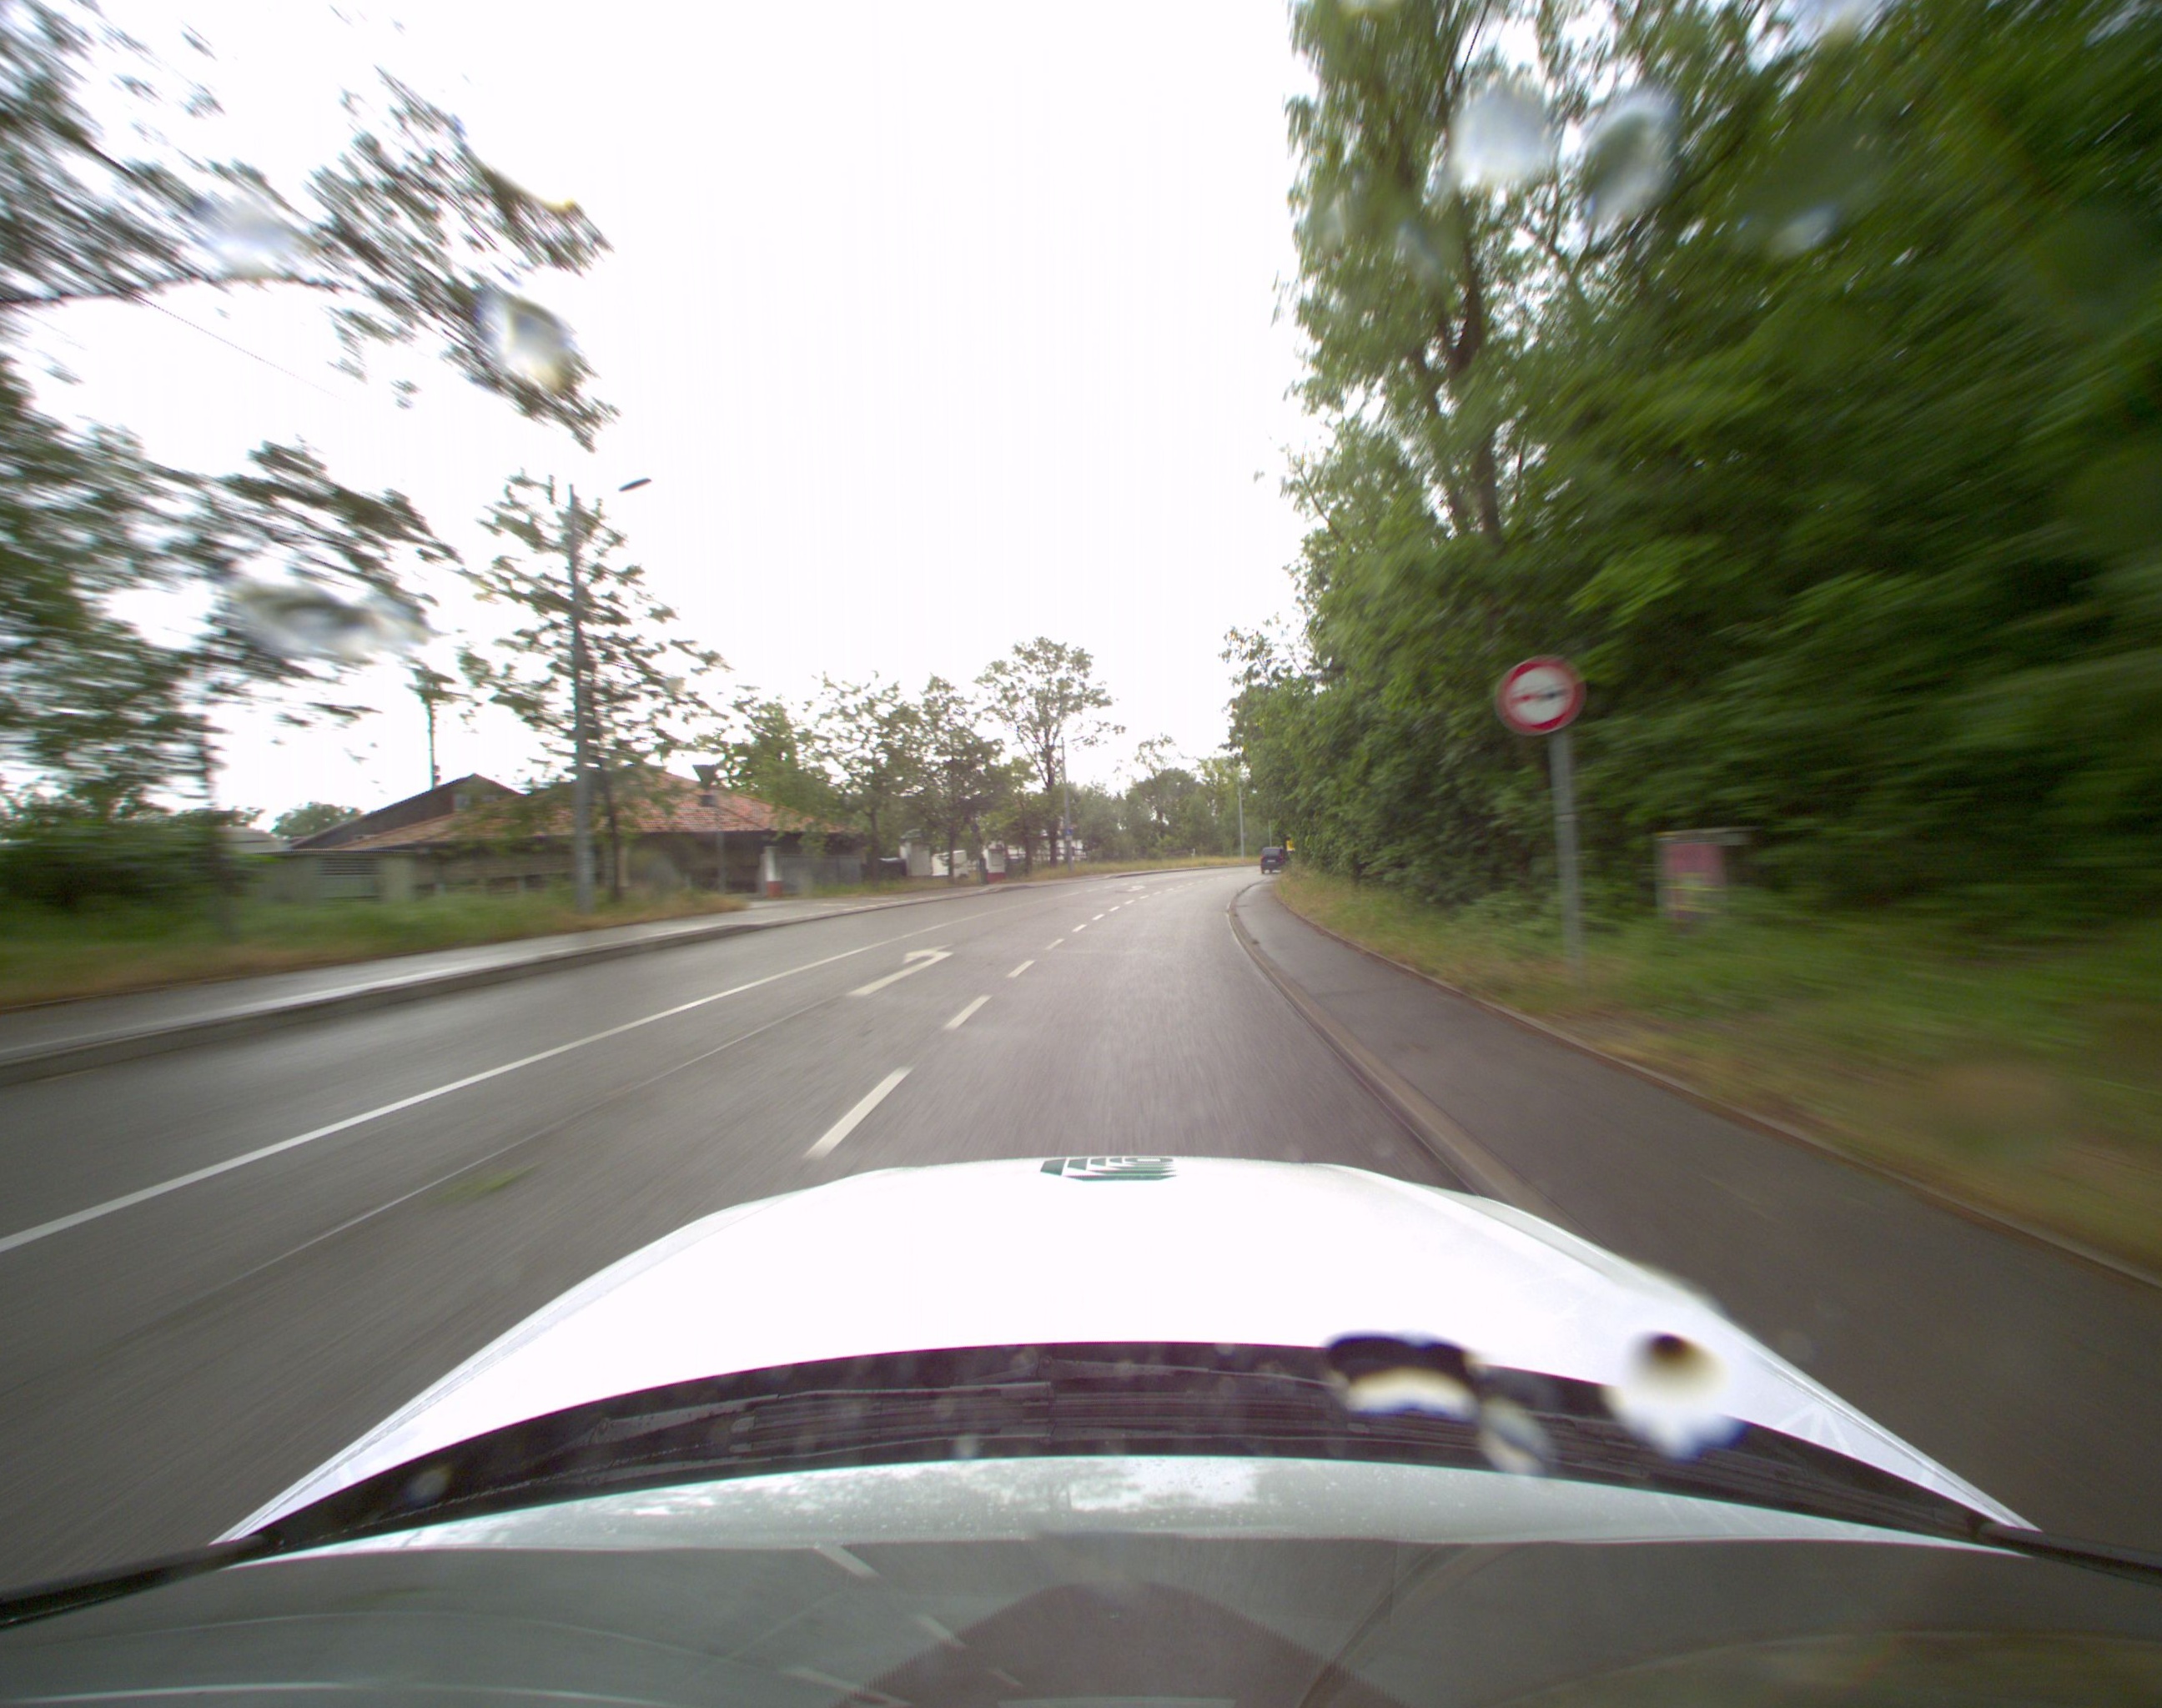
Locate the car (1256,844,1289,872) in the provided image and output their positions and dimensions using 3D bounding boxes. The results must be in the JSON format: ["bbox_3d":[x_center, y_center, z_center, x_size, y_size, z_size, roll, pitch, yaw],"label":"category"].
[{"bbox_3d":[13.764,0.274,58.317,1.813,1.794,4.018,-7,-2,17],"label":"car"}]
